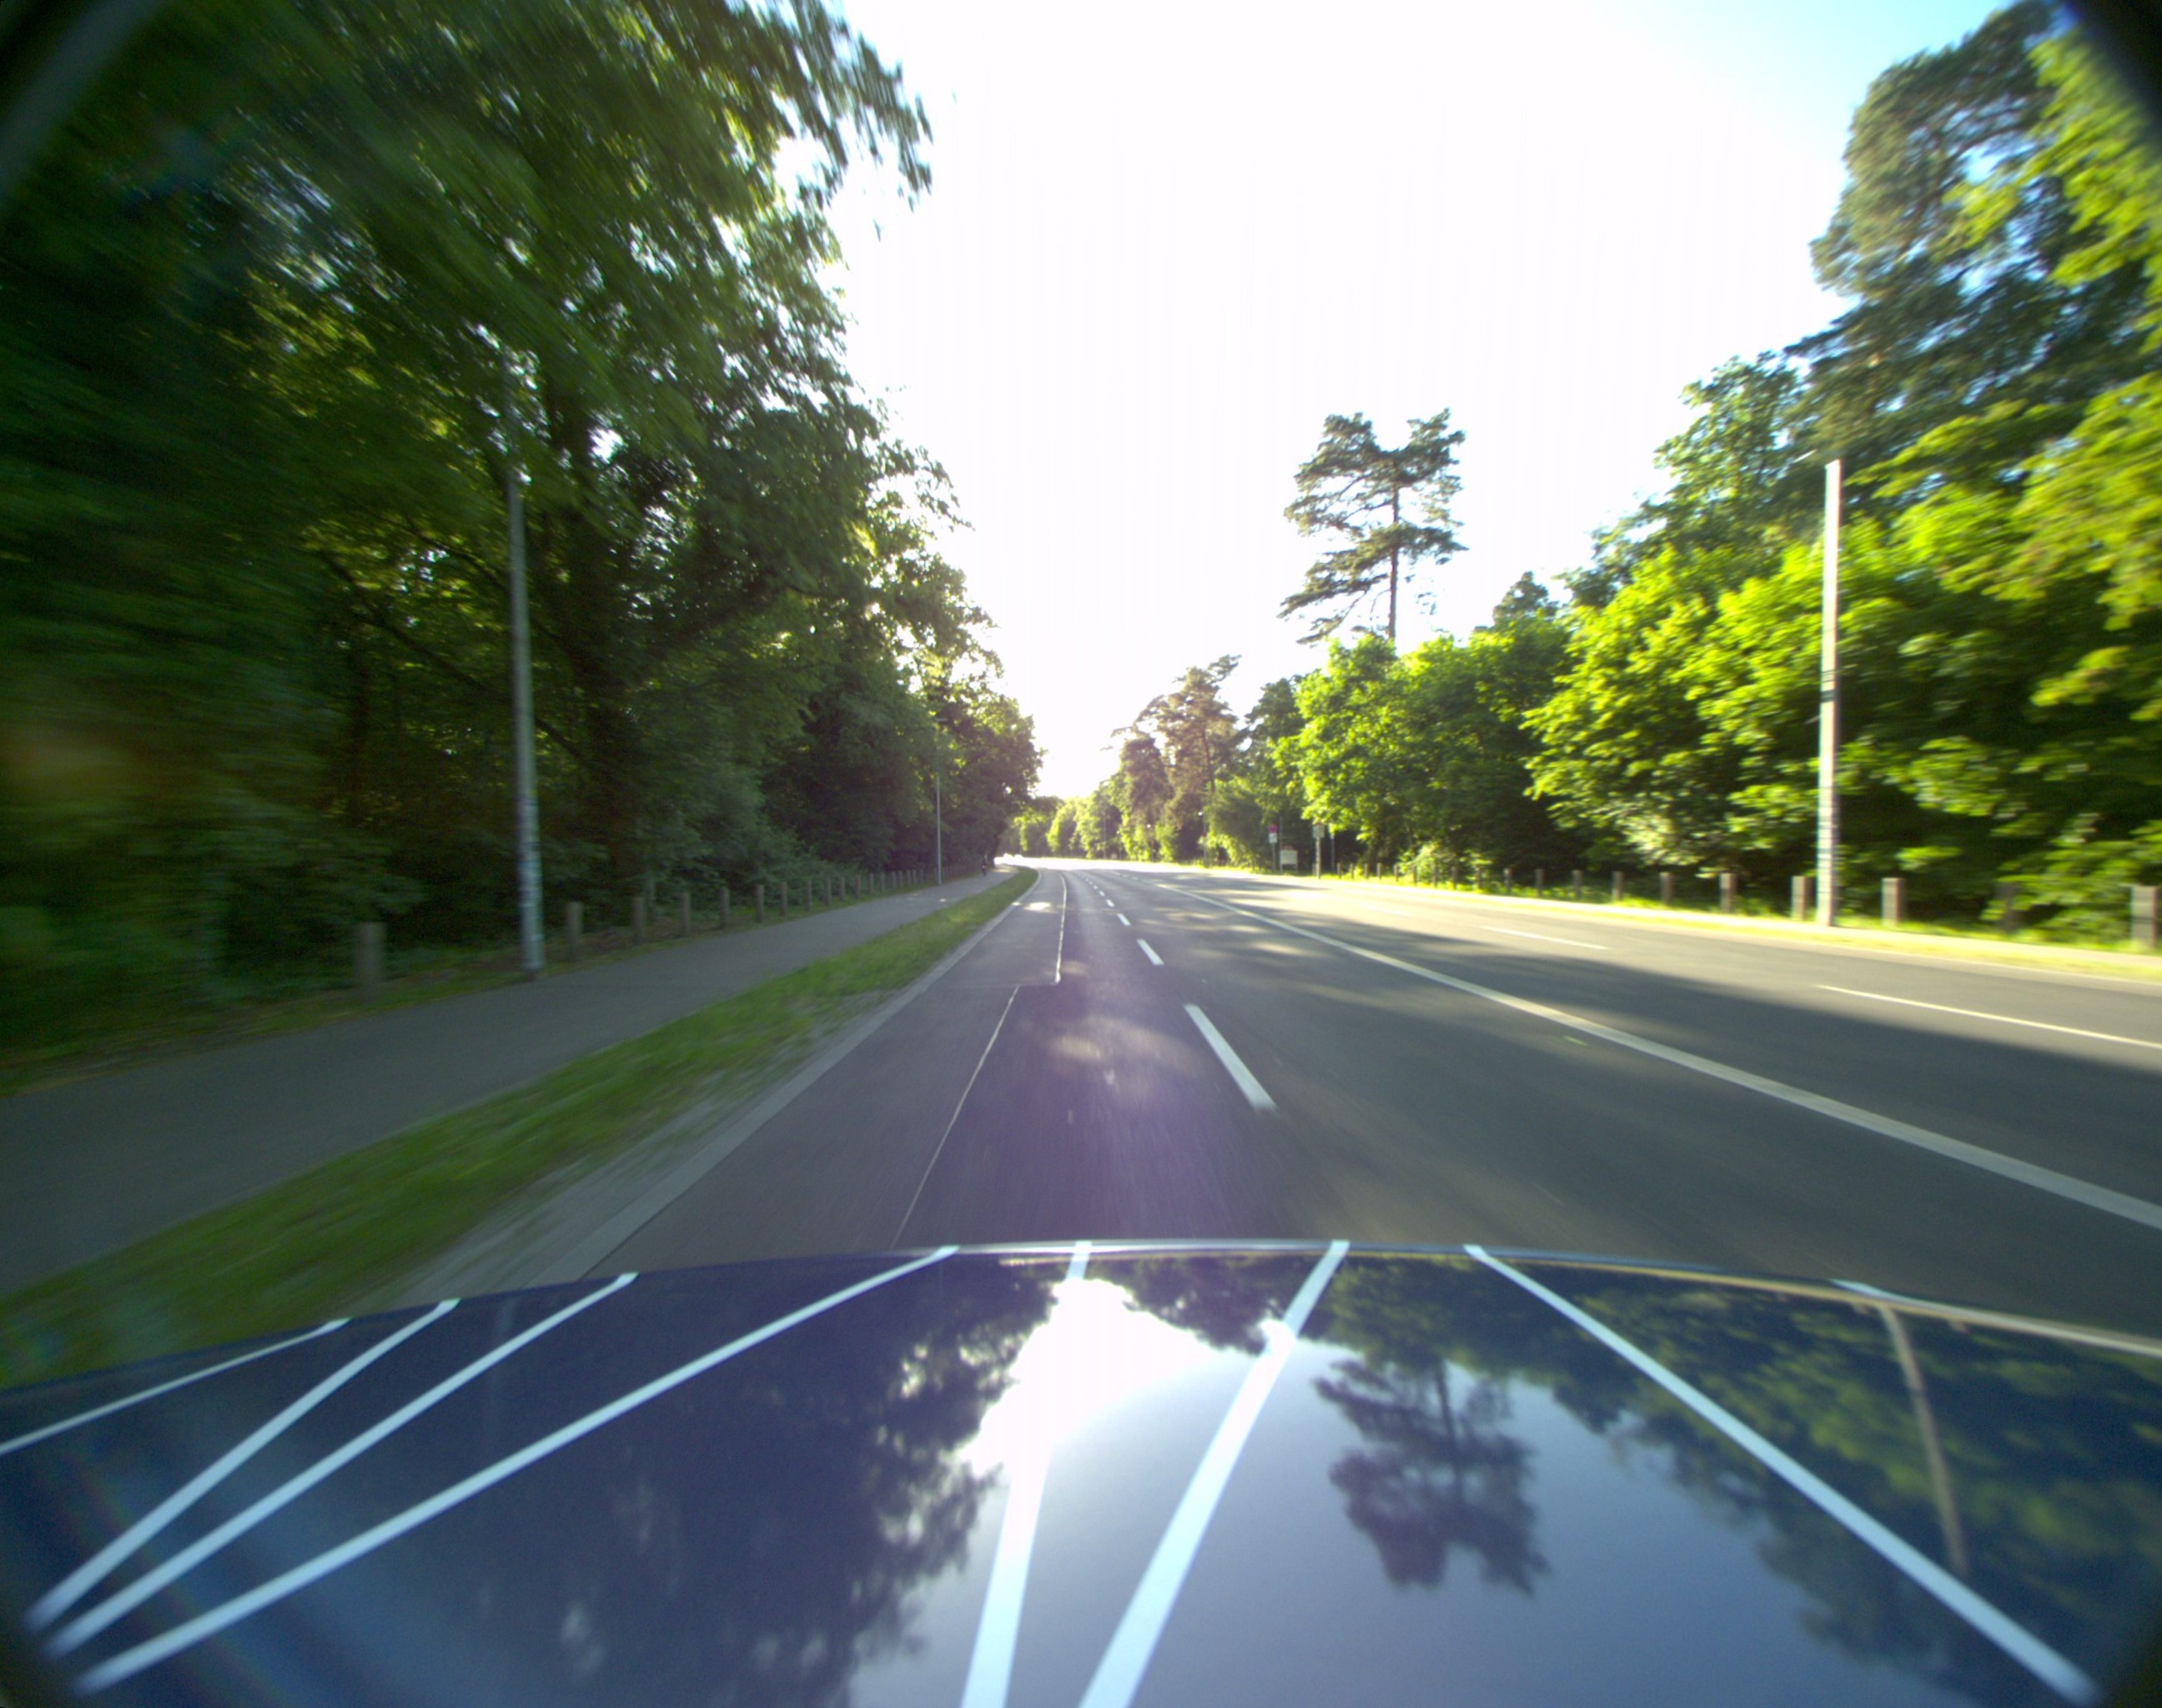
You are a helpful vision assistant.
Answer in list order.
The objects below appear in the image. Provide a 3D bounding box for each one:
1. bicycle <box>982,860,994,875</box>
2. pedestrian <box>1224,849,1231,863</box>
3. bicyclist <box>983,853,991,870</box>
[{"bbox_3d":[-7.031,0.990,57.463,0.608,1.051,2.874,-1,0,-1],"label":"bicycle"},{"bbox_3d":[14.169,0.165,73.506,0.472,1.307,0.512,-1,1,-2],"label":"pedestrian"},{"bbox_3d":[-7.056,0.551,57.273,0.514,1.260,0.497,-1,1,-2],"label":"bicyclist"}]
